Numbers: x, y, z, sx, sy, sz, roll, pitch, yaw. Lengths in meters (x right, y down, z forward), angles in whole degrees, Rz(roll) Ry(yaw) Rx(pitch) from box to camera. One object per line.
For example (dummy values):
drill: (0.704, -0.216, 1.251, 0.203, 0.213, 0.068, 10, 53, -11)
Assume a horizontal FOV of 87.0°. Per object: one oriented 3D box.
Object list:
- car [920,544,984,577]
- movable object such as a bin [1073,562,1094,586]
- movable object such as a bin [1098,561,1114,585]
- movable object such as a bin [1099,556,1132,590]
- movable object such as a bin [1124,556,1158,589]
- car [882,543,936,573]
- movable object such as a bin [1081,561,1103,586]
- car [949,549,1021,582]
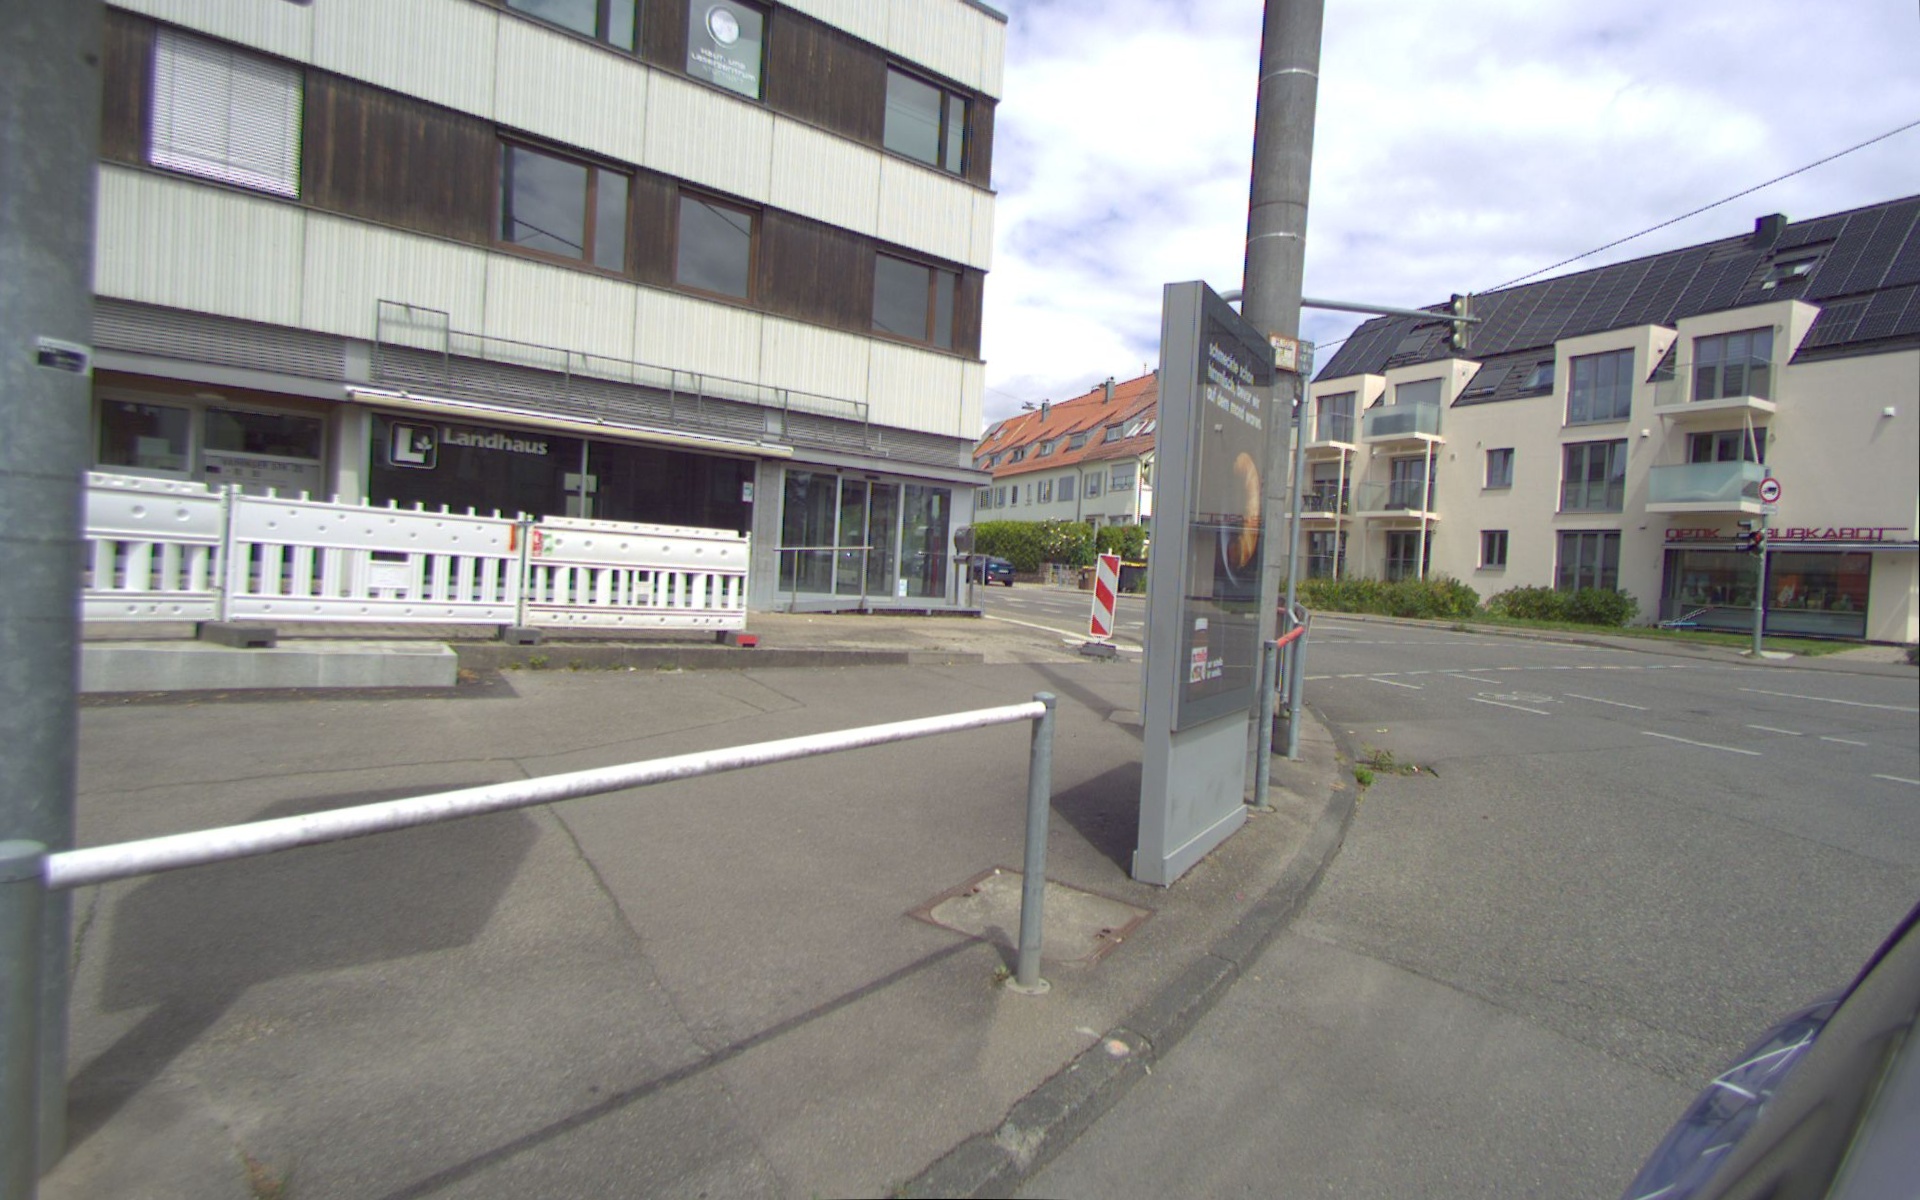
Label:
car: (-0.481, -2.210, 56.364, 1.958, 1.653, 4.464, 2, 3, -23)
movable object such as a bin: (5.807, -1.231, 47.547, 0.748, 1.078, 0.694, 2, 2, -16)
movable object such as a bin: (6.786, -1.239, 47.049, 0.519, 1.078, 0.650, 4, 3, 28)
movable object such as a bin: (7.104, -1.249, 46.174, 1.070, 1.464, 0.983, 2, 2, -23)
movable object such as a bin: (7.972, -1.233, 44.659, 1.070, 1.379, 0.983, 2, 2, -23)
car: (-3.231, -2.635, 62.752, 1.958, 1.653, 4.247, 2, 3, -23)
movable object such as a bin: (6.125, -1.232, 46.898, 0.748, 1.078, 0.694, 2, 2, -16)
car: (1.221, -1.794, 51.754, 1.782, 1.519, 4.463, 1, 3, -25)
